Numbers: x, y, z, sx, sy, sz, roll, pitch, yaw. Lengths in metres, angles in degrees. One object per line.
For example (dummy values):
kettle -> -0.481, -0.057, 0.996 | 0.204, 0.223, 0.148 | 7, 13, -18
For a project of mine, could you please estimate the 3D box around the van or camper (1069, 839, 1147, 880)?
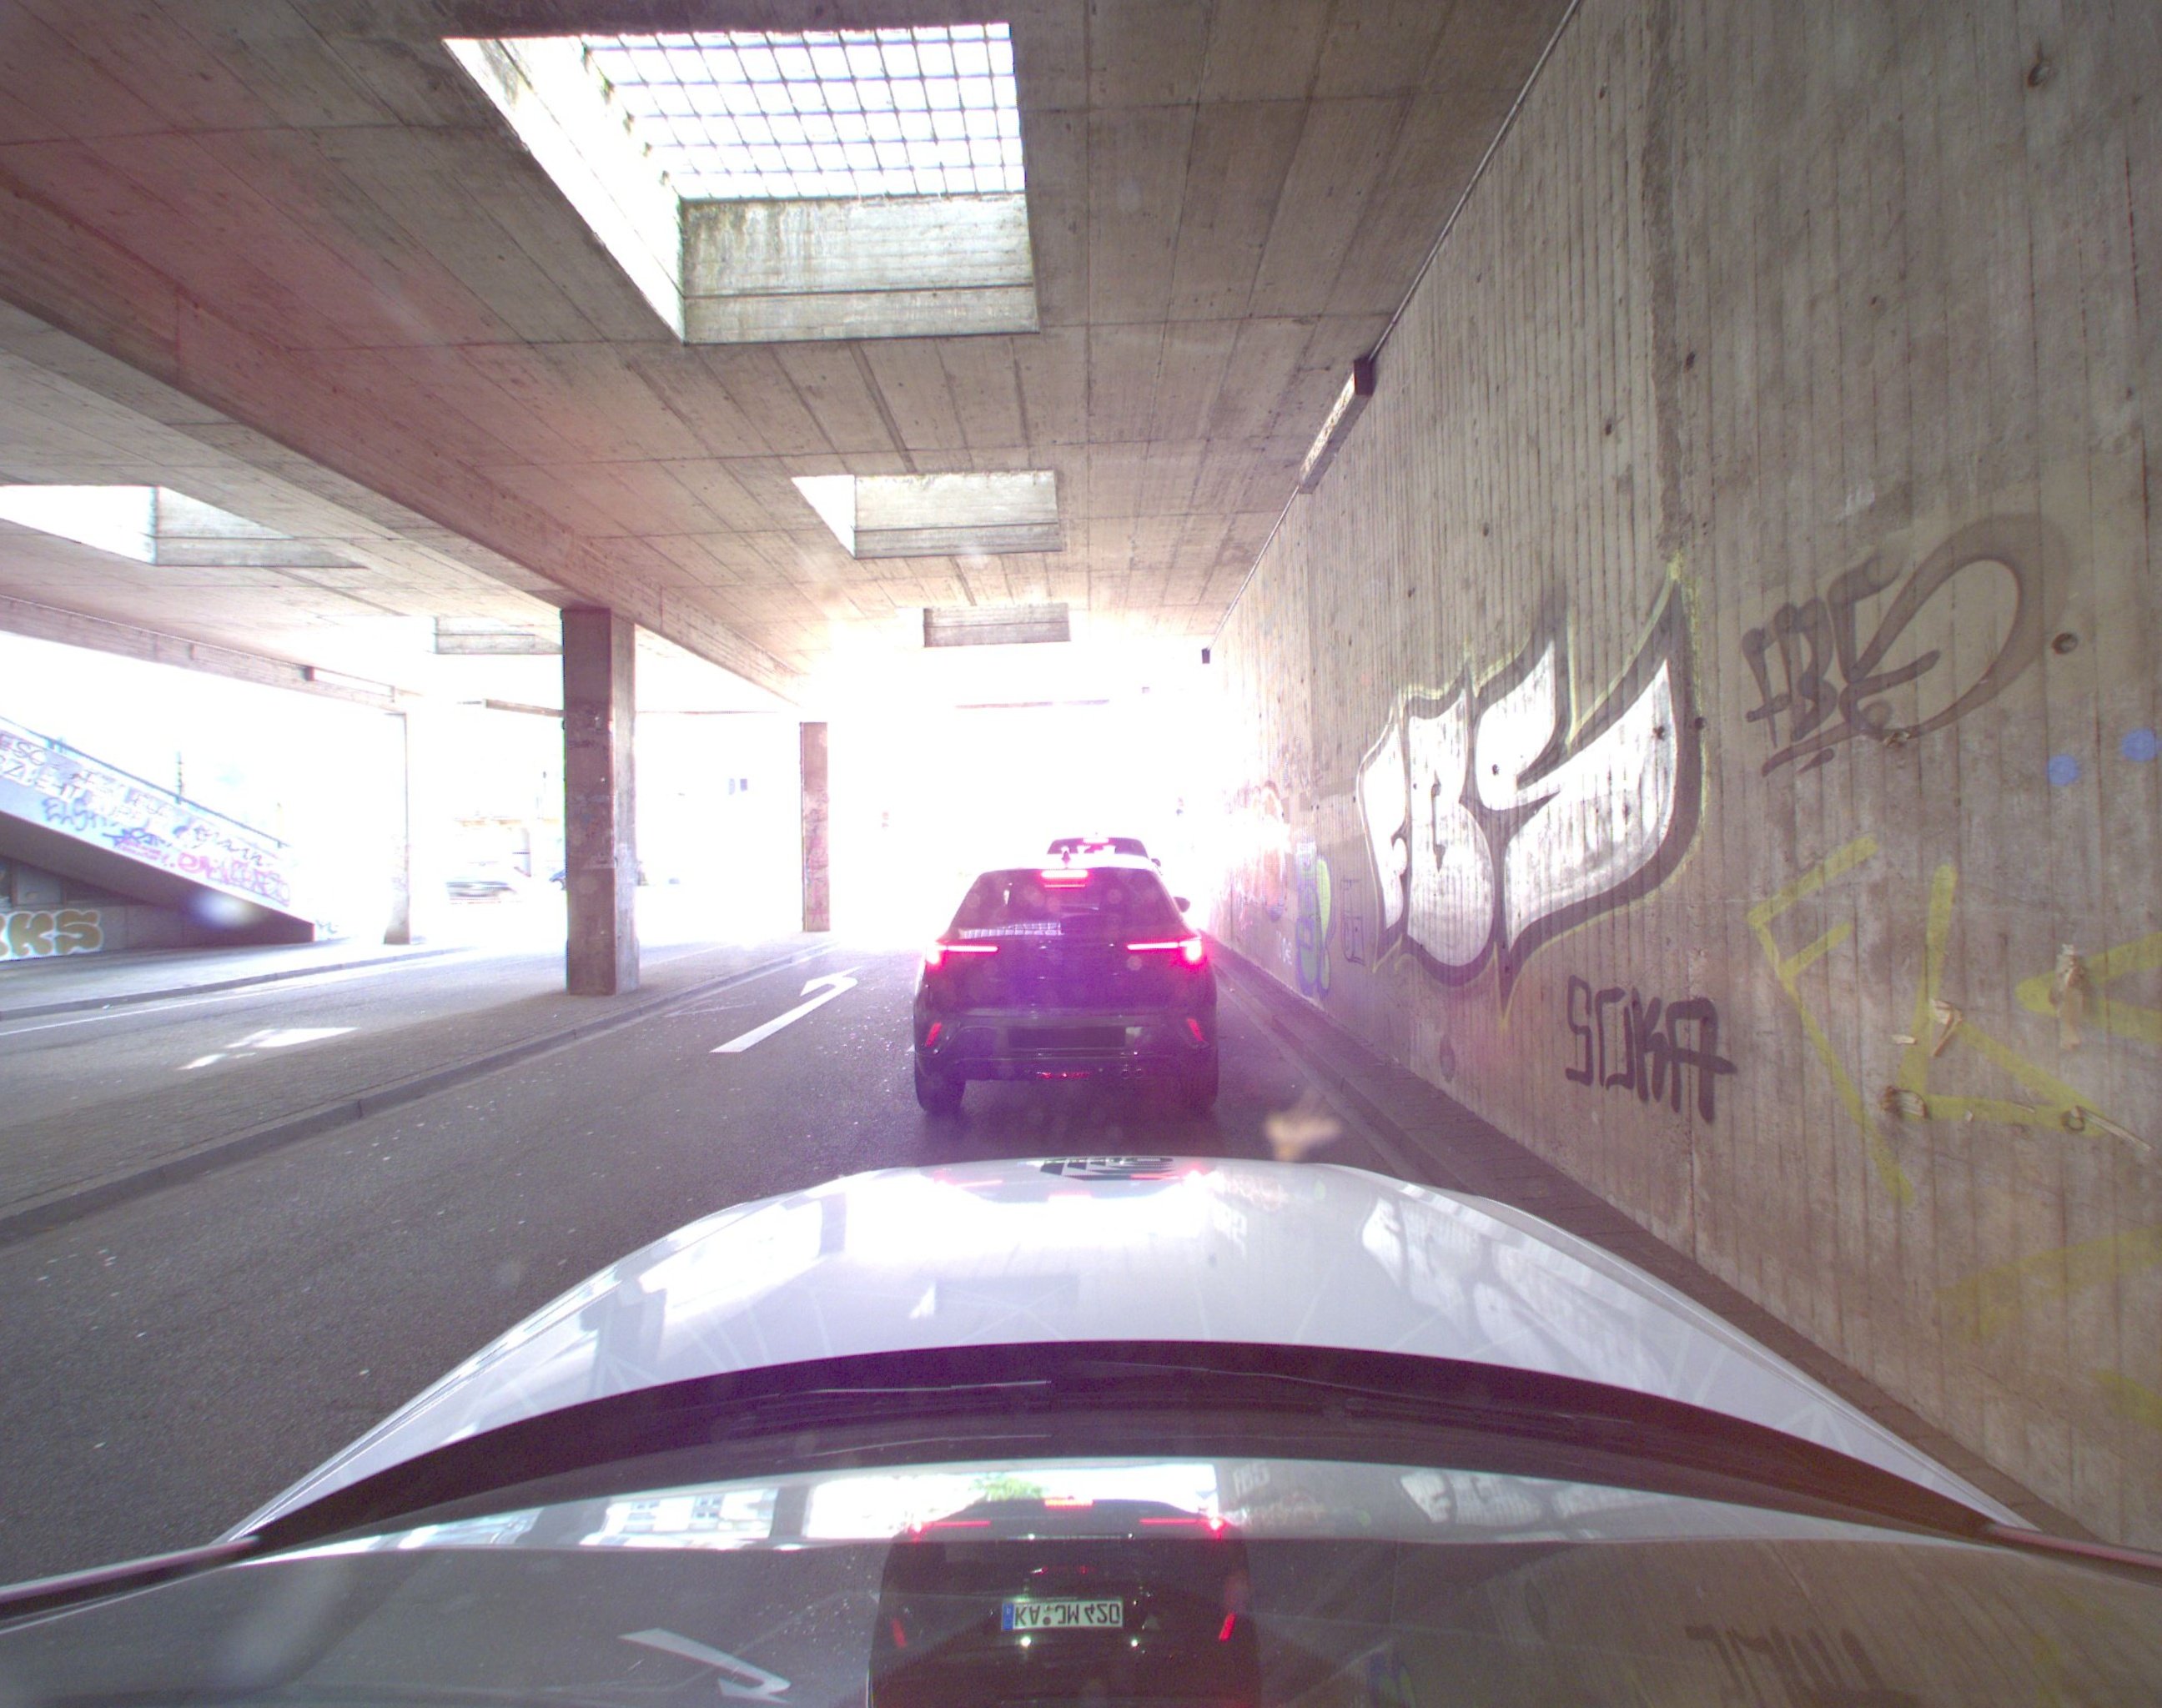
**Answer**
van or camper -> 1.468, 0.277, 43.440 | 3.854, 2.013, 2.005 | -2, 0, 9

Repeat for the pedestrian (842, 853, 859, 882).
pedestrian -> -13.740, 0.823, 48.529 | 0.617, 1.705, 0.727 | 0, -1, 22

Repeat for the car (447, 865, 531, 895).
car -> -32.881, 1.447, 45.310 | 3.519, 1.506, 1.563 | -2, 0, 2

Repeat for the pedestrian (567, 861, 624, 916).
pedestrian -> -16.122, 1.128, 27.057 | 1.103, 1.737, 1.146 | -2, 0, 15

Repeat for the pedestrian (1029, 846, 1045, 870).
pedestrian -> -2.876, 0.272, 53.362 | 0.729, 1.585, 0.894 | 0, -1, 18

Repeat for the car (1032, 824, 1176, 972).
car -> 0.356, 0.543, 12.144 | 1.779, 1.833, 3.962 | -1, 0, 2

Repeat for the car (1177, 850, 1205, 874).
car -> 8.175, 0.563, 60.725 | 1.983, 1.641, 4.602 | -2, 0, 7

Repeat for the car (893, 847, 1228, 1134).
car -> -0.033, 0.715, 6.268 | 1.746, 1.498, 4.002 | 0, 0, 2

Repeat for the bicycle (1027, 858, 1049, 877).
bicycle -> -2.798, 0.876, 53.350 | 0.730, 1.130, 2.036 | -2, 0, 19

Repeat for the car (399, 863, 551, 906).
car -> -24.301, 1.216, 32.738 | 4.695, 1.534, 2.003 | -1, 1, 5

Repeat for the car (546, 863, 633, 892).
car -> -27.285, 1.291, 45.302 | 3.742, 1.508, 1.752 | -2, 0, 0
